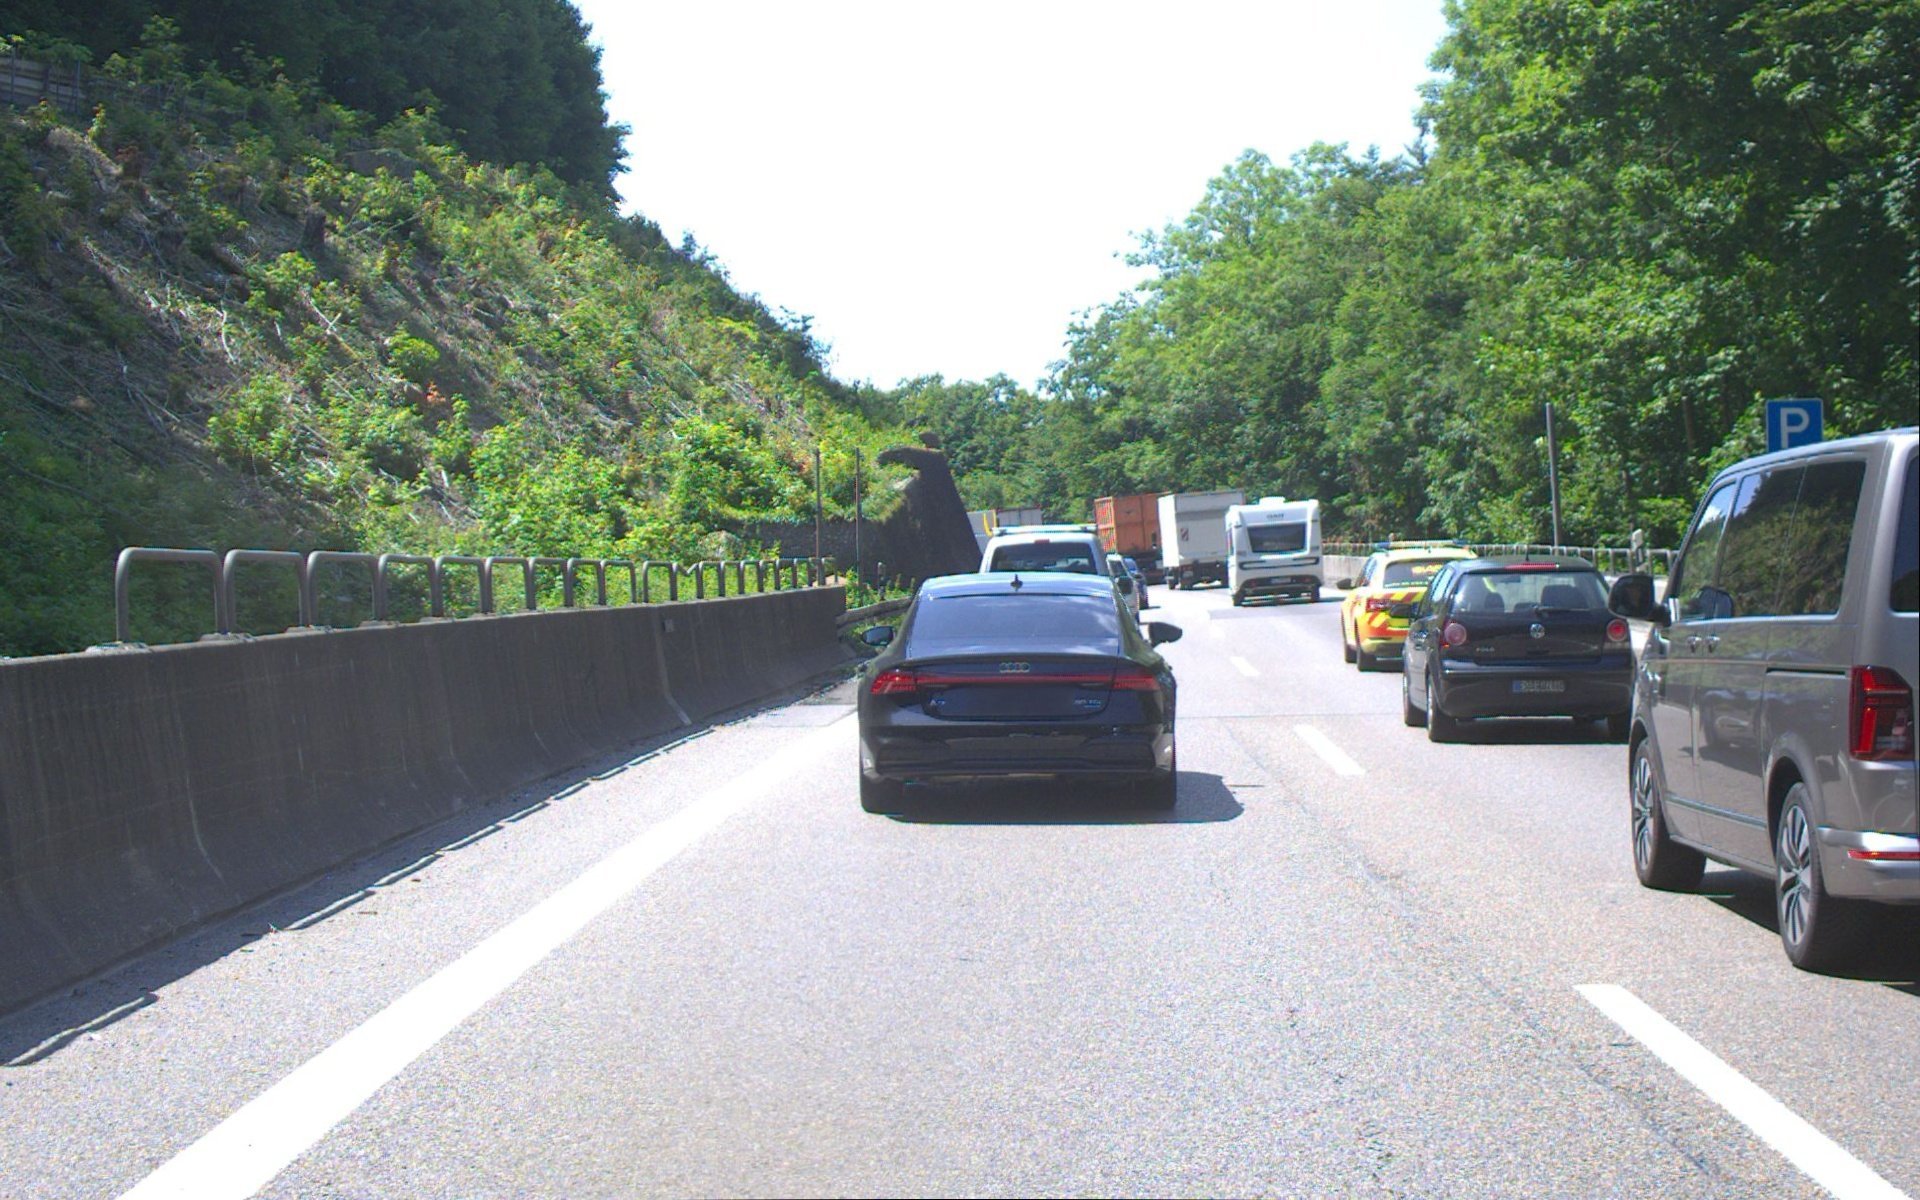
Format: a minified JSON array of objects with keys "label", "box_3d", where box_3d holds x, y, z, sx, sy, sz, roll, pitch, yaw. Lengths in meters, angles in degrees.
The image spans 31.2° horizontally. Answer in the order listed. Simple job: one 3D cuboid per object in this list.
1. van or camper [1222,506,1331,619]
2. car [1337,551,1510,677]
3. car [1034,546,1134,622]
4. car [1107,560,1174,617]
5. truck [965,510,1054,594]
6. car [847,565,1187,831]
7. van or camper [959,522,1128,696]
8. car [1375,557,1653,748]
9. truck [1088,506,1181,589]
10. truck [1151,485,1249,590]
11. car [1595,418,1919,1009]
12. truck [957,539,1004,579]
[{"label":"van or camper","box_3d":[8.211,-0.982,89.778,2.604,2.845,6.335,0,1,3]},{"label":"car","box_3d":[5.667,0.138,42.391,1.808,1.473,4.081,0,1,3]},{"label":"car","box_3d":[2.665,-0.369,74.664,1.895,1.579,3.771,-1,1,-2]},{"label":"car","box_3d":[5.052,-0.344,96.369,1.751,1.565,3.771,0,1,1]},{"label":"truck","box_3d":[2.653,-2.585,186.710,3.709,4.488,7.726,0,1,-8]},{"label":"car","box_3d":[0.351,0.528,21.483,1.905,1.484,4.379,0,1,1]},{"label":"van or camper","box_3d":[1.035,0.078,40.409,1.853,1.935,4.165,0,1,3]},{"label":"car","box_3d":[4.471,0.381,28.265,1.685,1.453,4.000,0,1,1]},{"label":"truck","box_3d":[7.397,-2.220,146.437,3.163,3.456,8.222,0,1,-3]},{"label":"truck","box_3d":[8.706,-2.247,125.526,2.925,3.674,7.724,0,1,-1]},{"label":"car","box_3d":[3.888,0.342,13.539,1.940,1.924,4.694,0,1,1]},{"label":"truck","box_3d":[1.006,-2.059,172.415,1.993,2.007,4.001,-1,1,-4]}]
